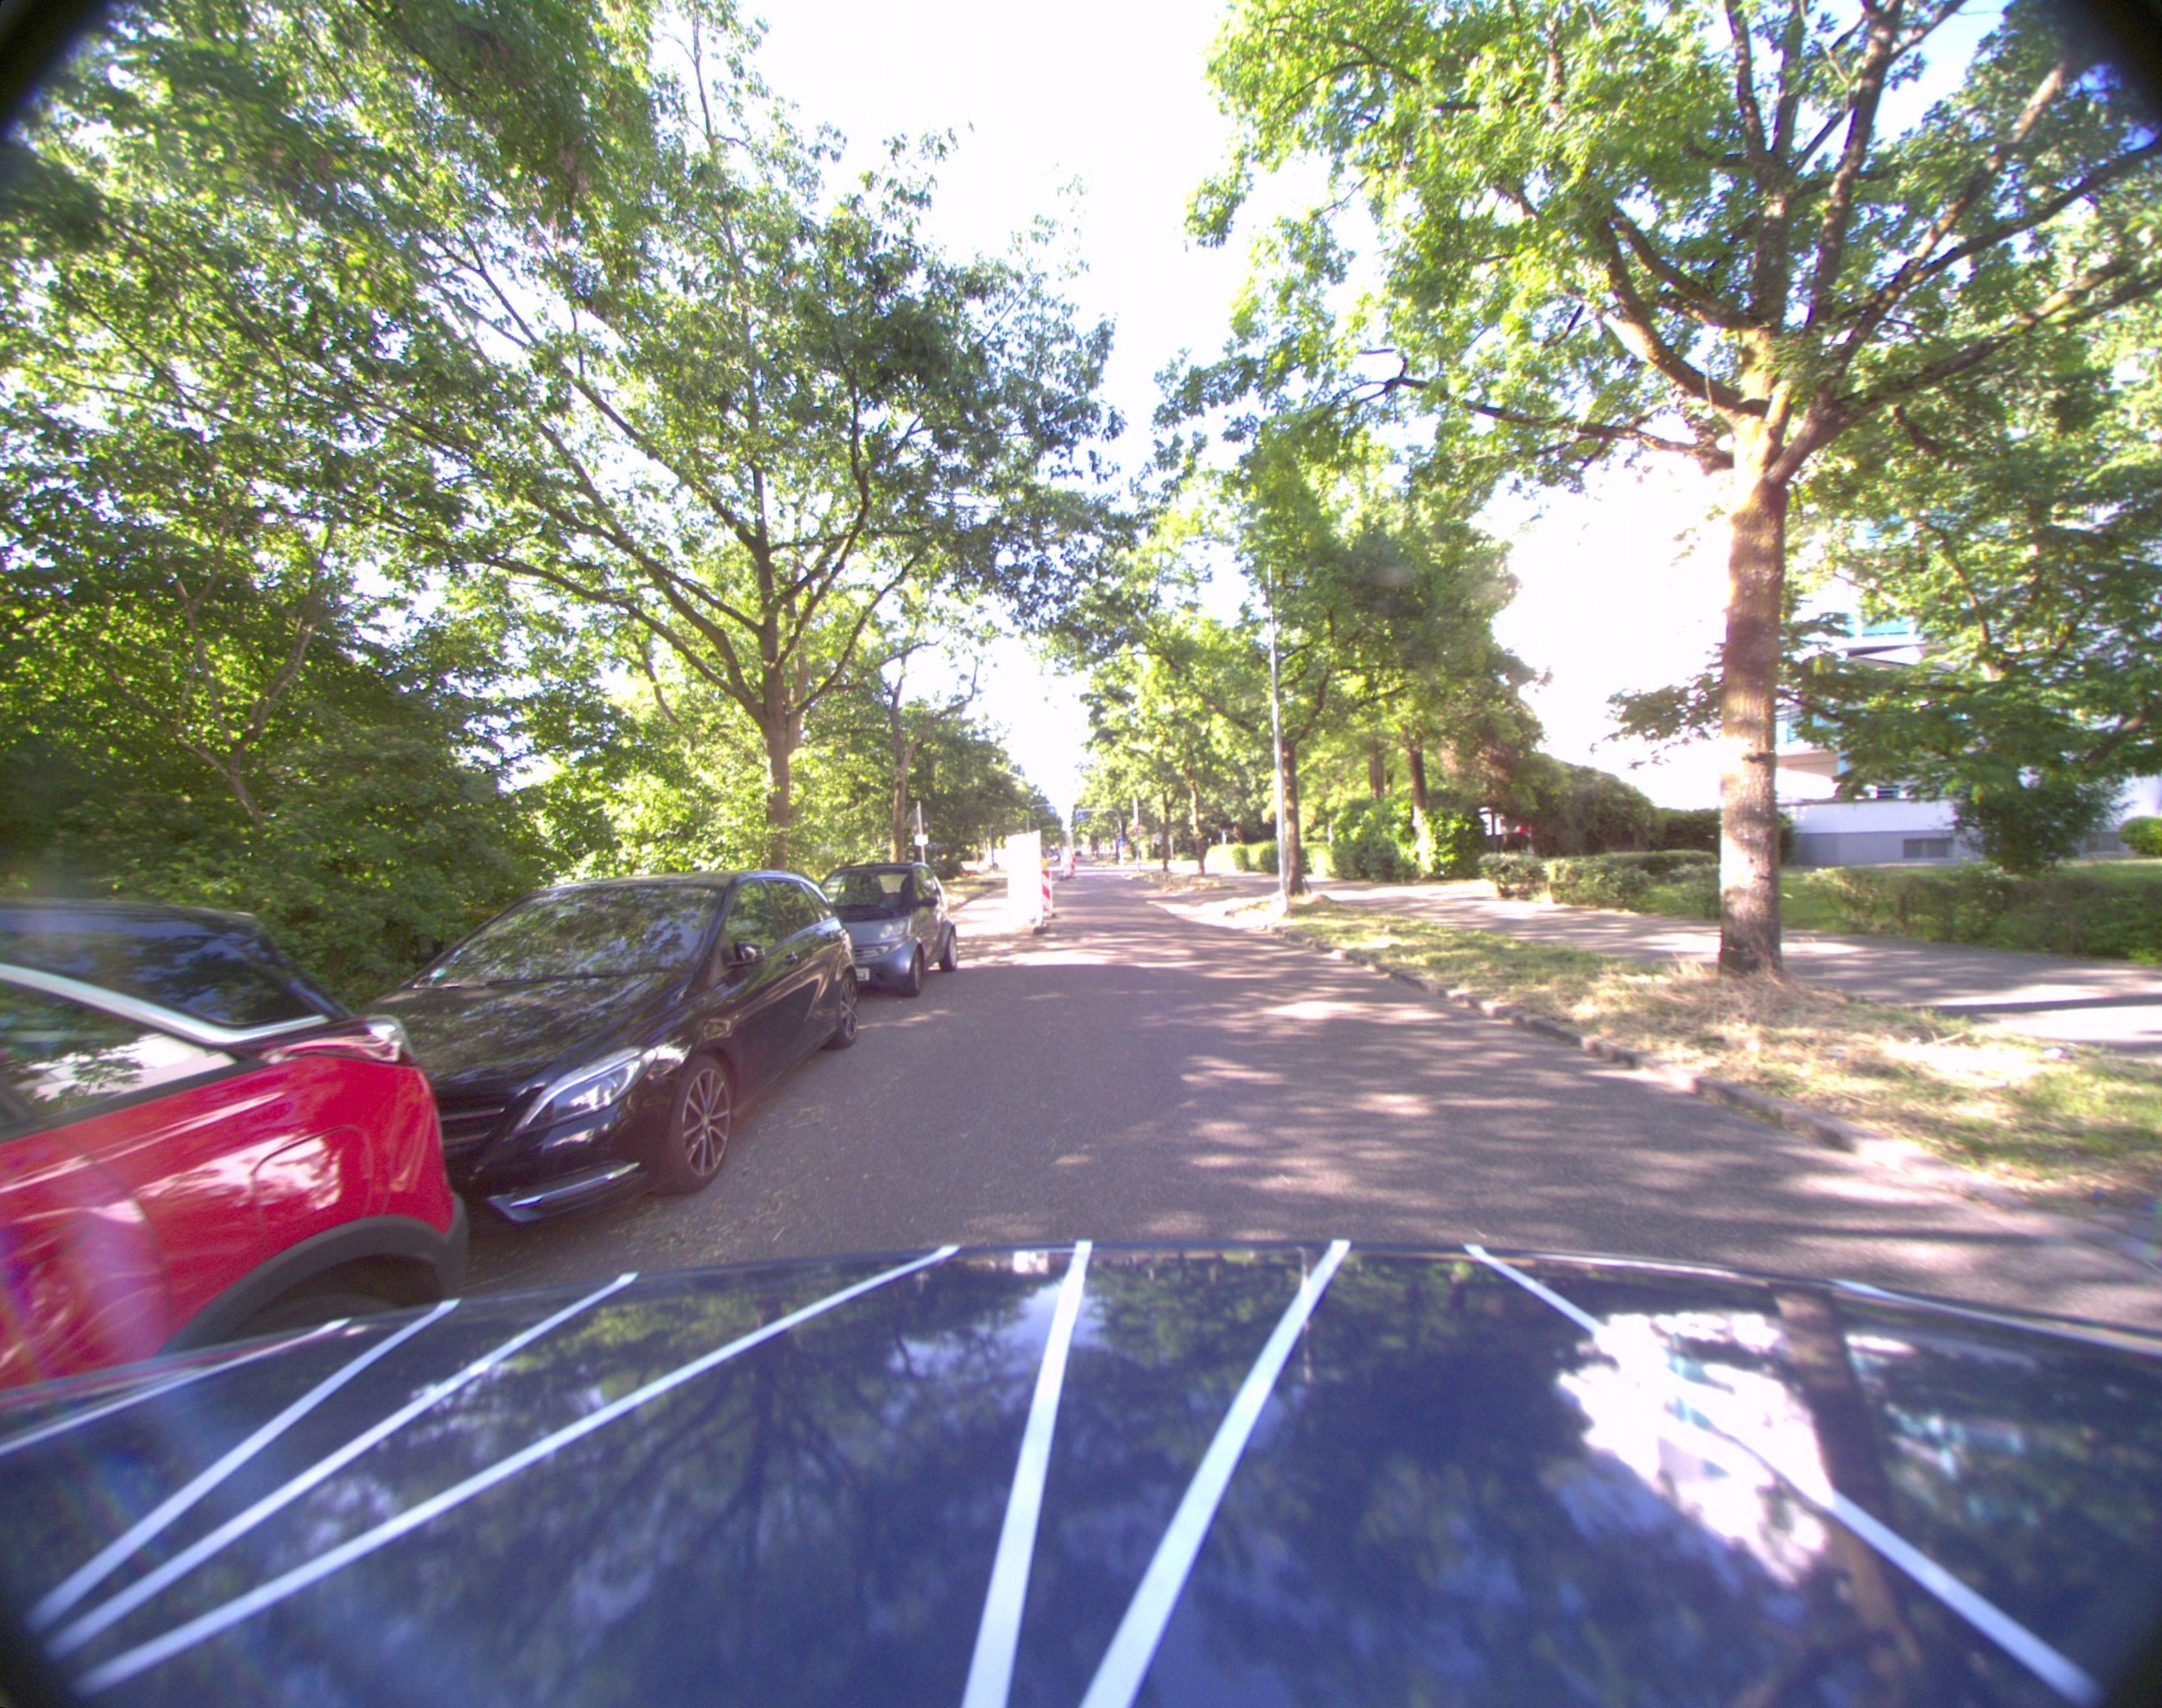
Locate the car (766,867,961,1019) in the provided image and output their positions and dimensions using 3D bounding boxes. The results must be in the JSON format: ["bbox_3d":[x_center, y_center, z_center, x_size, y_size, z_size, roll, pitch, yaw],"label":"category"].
[{"bbox_3d":[-2.544,0.980,9.491,1.497,1.500,2.677,-3,1,2],"label":"car"}]

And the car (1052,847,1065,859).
[{"bbox_3d":[-3.667,-0.112,123.957,1.998,1.871,3.999,0,1,1],"label":"car"}]

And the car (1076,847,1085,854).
[{"bbox_3d":[-0.108,-0.835,200.342,1.998,1.805,4.000,-2,1,2],"label":"car"}]

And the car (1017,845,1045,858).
[{"bbox_3d":[-7.564,-0.390,115.334,4.245,1.993,1.565,-1,1,-4],"label":"car"}]

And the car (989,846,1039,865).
[{"bbox_3d":[-7.273,0.124,82.656,5.269,1.993,1.999,-1,1,-2],"label":"car"}]

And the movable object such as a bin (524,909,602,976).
[{"bbox_3d":[-7.475,1.271,10.983,0.727,0.877,0.462,0,7,6],"label":"movable object such as a bin"}]

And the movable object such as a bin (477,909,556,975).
[{"bbox_3d":[-8.208,1.273,11.063,0.727,0.877,0.462,0,7,6],"label":"movable object such as a bin"}]

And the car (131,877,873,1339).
[{"bbox_3d":[-2.730,1.015,4.949,1.716,1.500,4.148,-3,0,-3],"label":"car"}]
